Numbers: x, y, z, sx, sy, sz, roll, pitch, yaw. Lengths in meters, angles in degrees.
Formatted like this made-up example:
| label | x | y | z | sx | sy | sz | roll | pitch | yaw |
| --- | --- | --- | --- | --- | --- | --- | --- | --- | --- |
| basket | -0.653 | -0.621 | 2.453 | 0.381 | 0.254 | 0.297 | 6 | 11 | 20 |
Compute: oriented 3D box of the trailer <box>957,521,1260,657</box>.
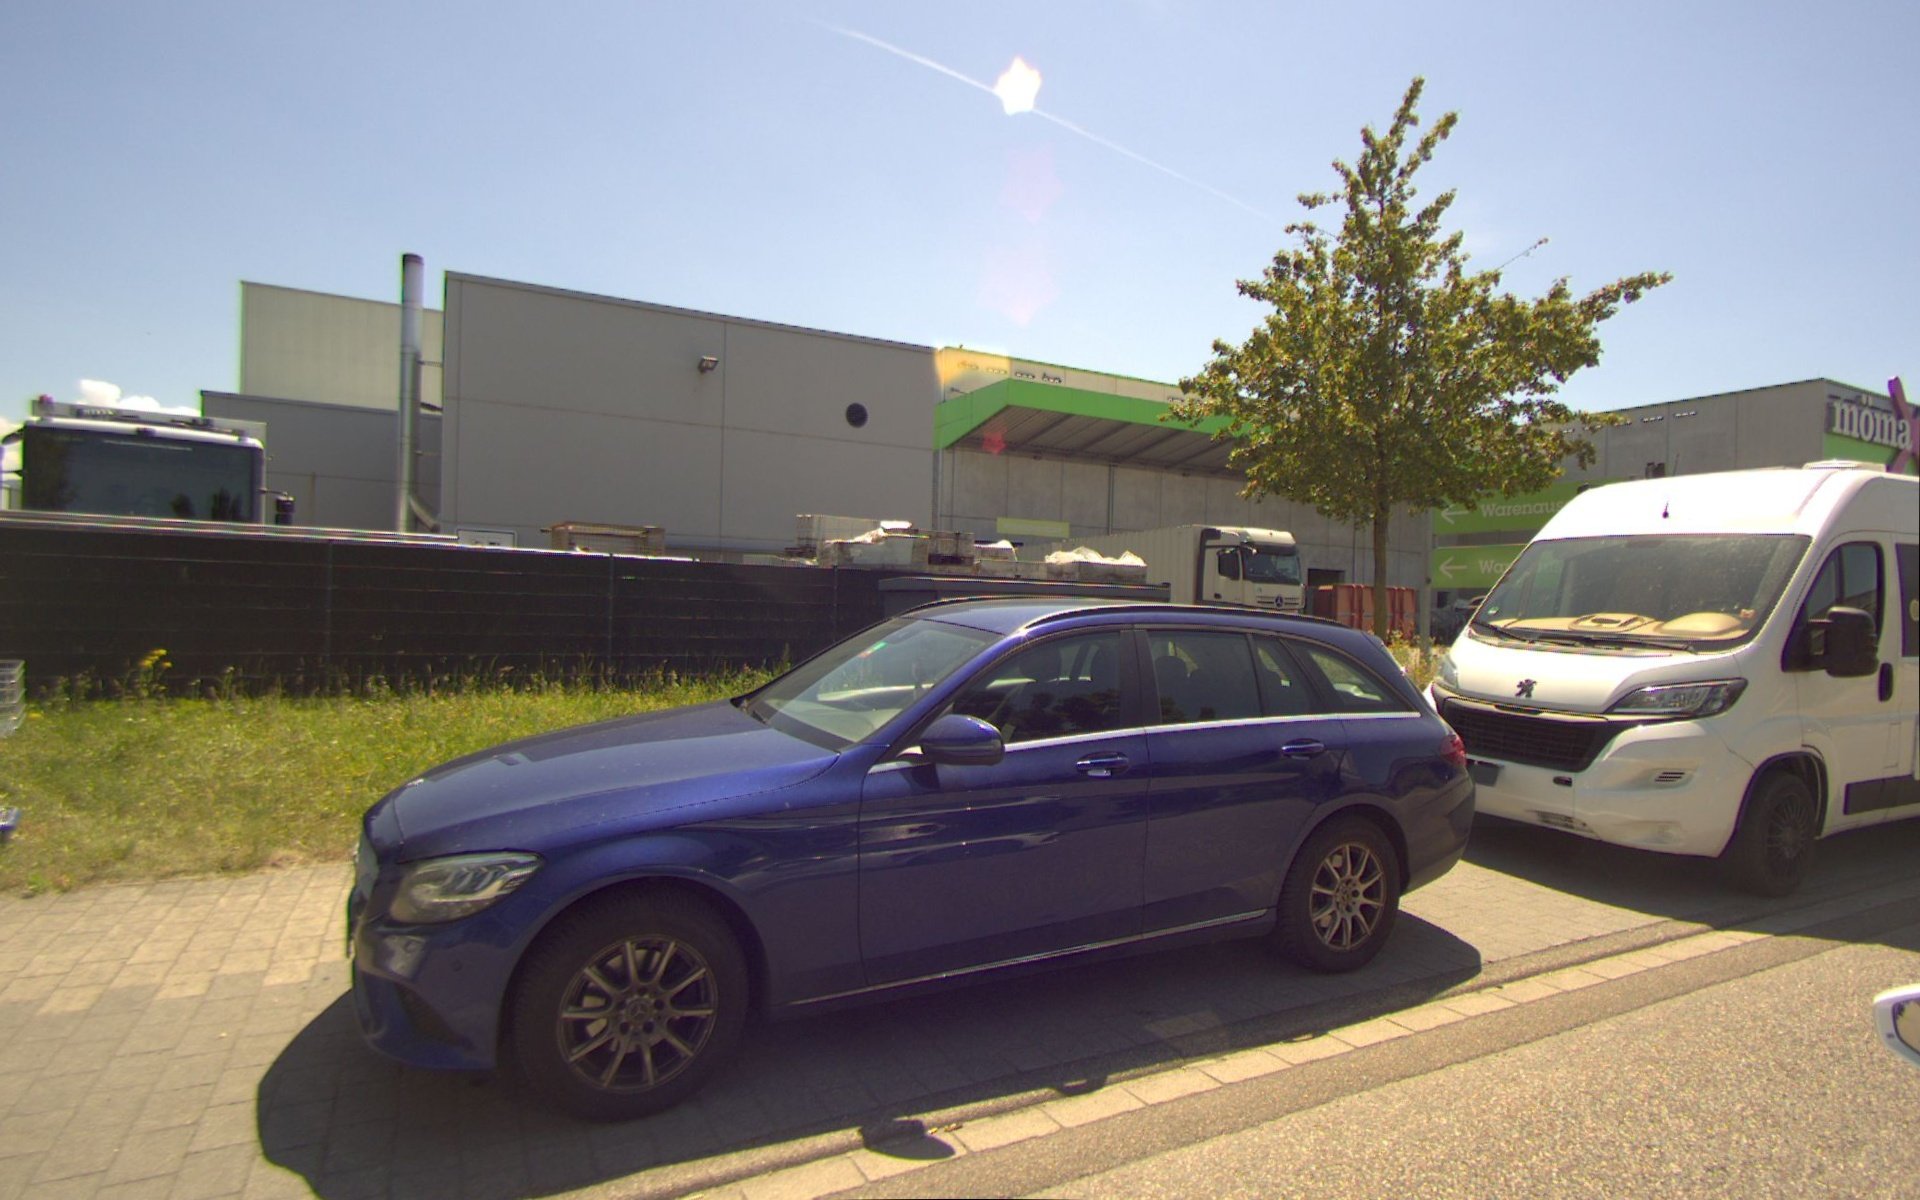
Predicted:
| label | x | y | z | sx | sy | sz | roll | pitch | yaw |
| --- | --- | --- | --- | --- | --- | --- | --- | --- | --- |
| trailer | 4.737 | -0.227 | 38.211 | 3.178 | 4.142 | 15.264 | 1 | -1 | -27 |

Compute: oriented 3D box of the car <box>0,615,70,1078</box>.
| label | x | y | z | sx | sy | sz | roll | pitch | yaw |
| --- | --- | --- | --- | --- | --- | --- | --- | --- | --- |
| car | -4.409 | 0.694 | 1.749 | 3.948 | 1.329 | 1.638 | 1 | 1 | -27 |

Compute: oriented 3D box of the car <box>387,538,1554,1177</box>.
| label | x | y | z | sx | sy | sz | roll | pitch | yaw |
| --- | --- | --- | --- | --- | --- | --- | --- | --- | --- |
| car | 0.235 | 0.655 | 4.316 | 4.566 | 1.561 | 1.824 | 1 | 1 | -28 |

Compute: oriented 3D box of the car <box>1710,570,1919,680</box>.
| label | x | y | z | sx | sy | sz | roll | pitch | yaw |
| --- | --- | --- | --- | --- | --- | --- | --- | --- | --- |
| car | 26.079 | 0.665 | 29.518 | 2.490 | 2.965 | 5.949 | 1 | 0 | -28 |

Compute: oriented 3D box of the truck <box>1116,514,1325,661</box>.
| label | x | y | z | sx | sy | sz | roll | pitch | yaw |
| --- | --- | --- | --- | --- | --- | --- | --- | --- | --- |
| truck | 8.026 | -0.300 | 31.728 | 3.178 | 4.142 | 6.083 | 1 | -1 | -27 |

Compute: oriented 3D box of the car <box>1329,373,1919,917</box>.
| label | x | y | z | sx | sy | sz | roll | pitch | yaw |
| --- | --- | --- | --- | --- | --- | --- | --- | --- | --- |
| car | 5.770 | 0.258 | 7.289 | 6.008 | 2.633 | 2.314 | 1 | 1 | -28 |

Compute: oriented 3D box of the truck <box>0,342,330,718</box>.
| label | x | y | z | sx | sy | sz | roll | pitch | yaw |
| --- | --- | --- | --- | --- | --- | --- | --- | --- | --- |
| truck | -11.072 | -0.737 | 13.979 | 3.130 | 4.024 | 5.984 | 1 | 0 | -39 |
